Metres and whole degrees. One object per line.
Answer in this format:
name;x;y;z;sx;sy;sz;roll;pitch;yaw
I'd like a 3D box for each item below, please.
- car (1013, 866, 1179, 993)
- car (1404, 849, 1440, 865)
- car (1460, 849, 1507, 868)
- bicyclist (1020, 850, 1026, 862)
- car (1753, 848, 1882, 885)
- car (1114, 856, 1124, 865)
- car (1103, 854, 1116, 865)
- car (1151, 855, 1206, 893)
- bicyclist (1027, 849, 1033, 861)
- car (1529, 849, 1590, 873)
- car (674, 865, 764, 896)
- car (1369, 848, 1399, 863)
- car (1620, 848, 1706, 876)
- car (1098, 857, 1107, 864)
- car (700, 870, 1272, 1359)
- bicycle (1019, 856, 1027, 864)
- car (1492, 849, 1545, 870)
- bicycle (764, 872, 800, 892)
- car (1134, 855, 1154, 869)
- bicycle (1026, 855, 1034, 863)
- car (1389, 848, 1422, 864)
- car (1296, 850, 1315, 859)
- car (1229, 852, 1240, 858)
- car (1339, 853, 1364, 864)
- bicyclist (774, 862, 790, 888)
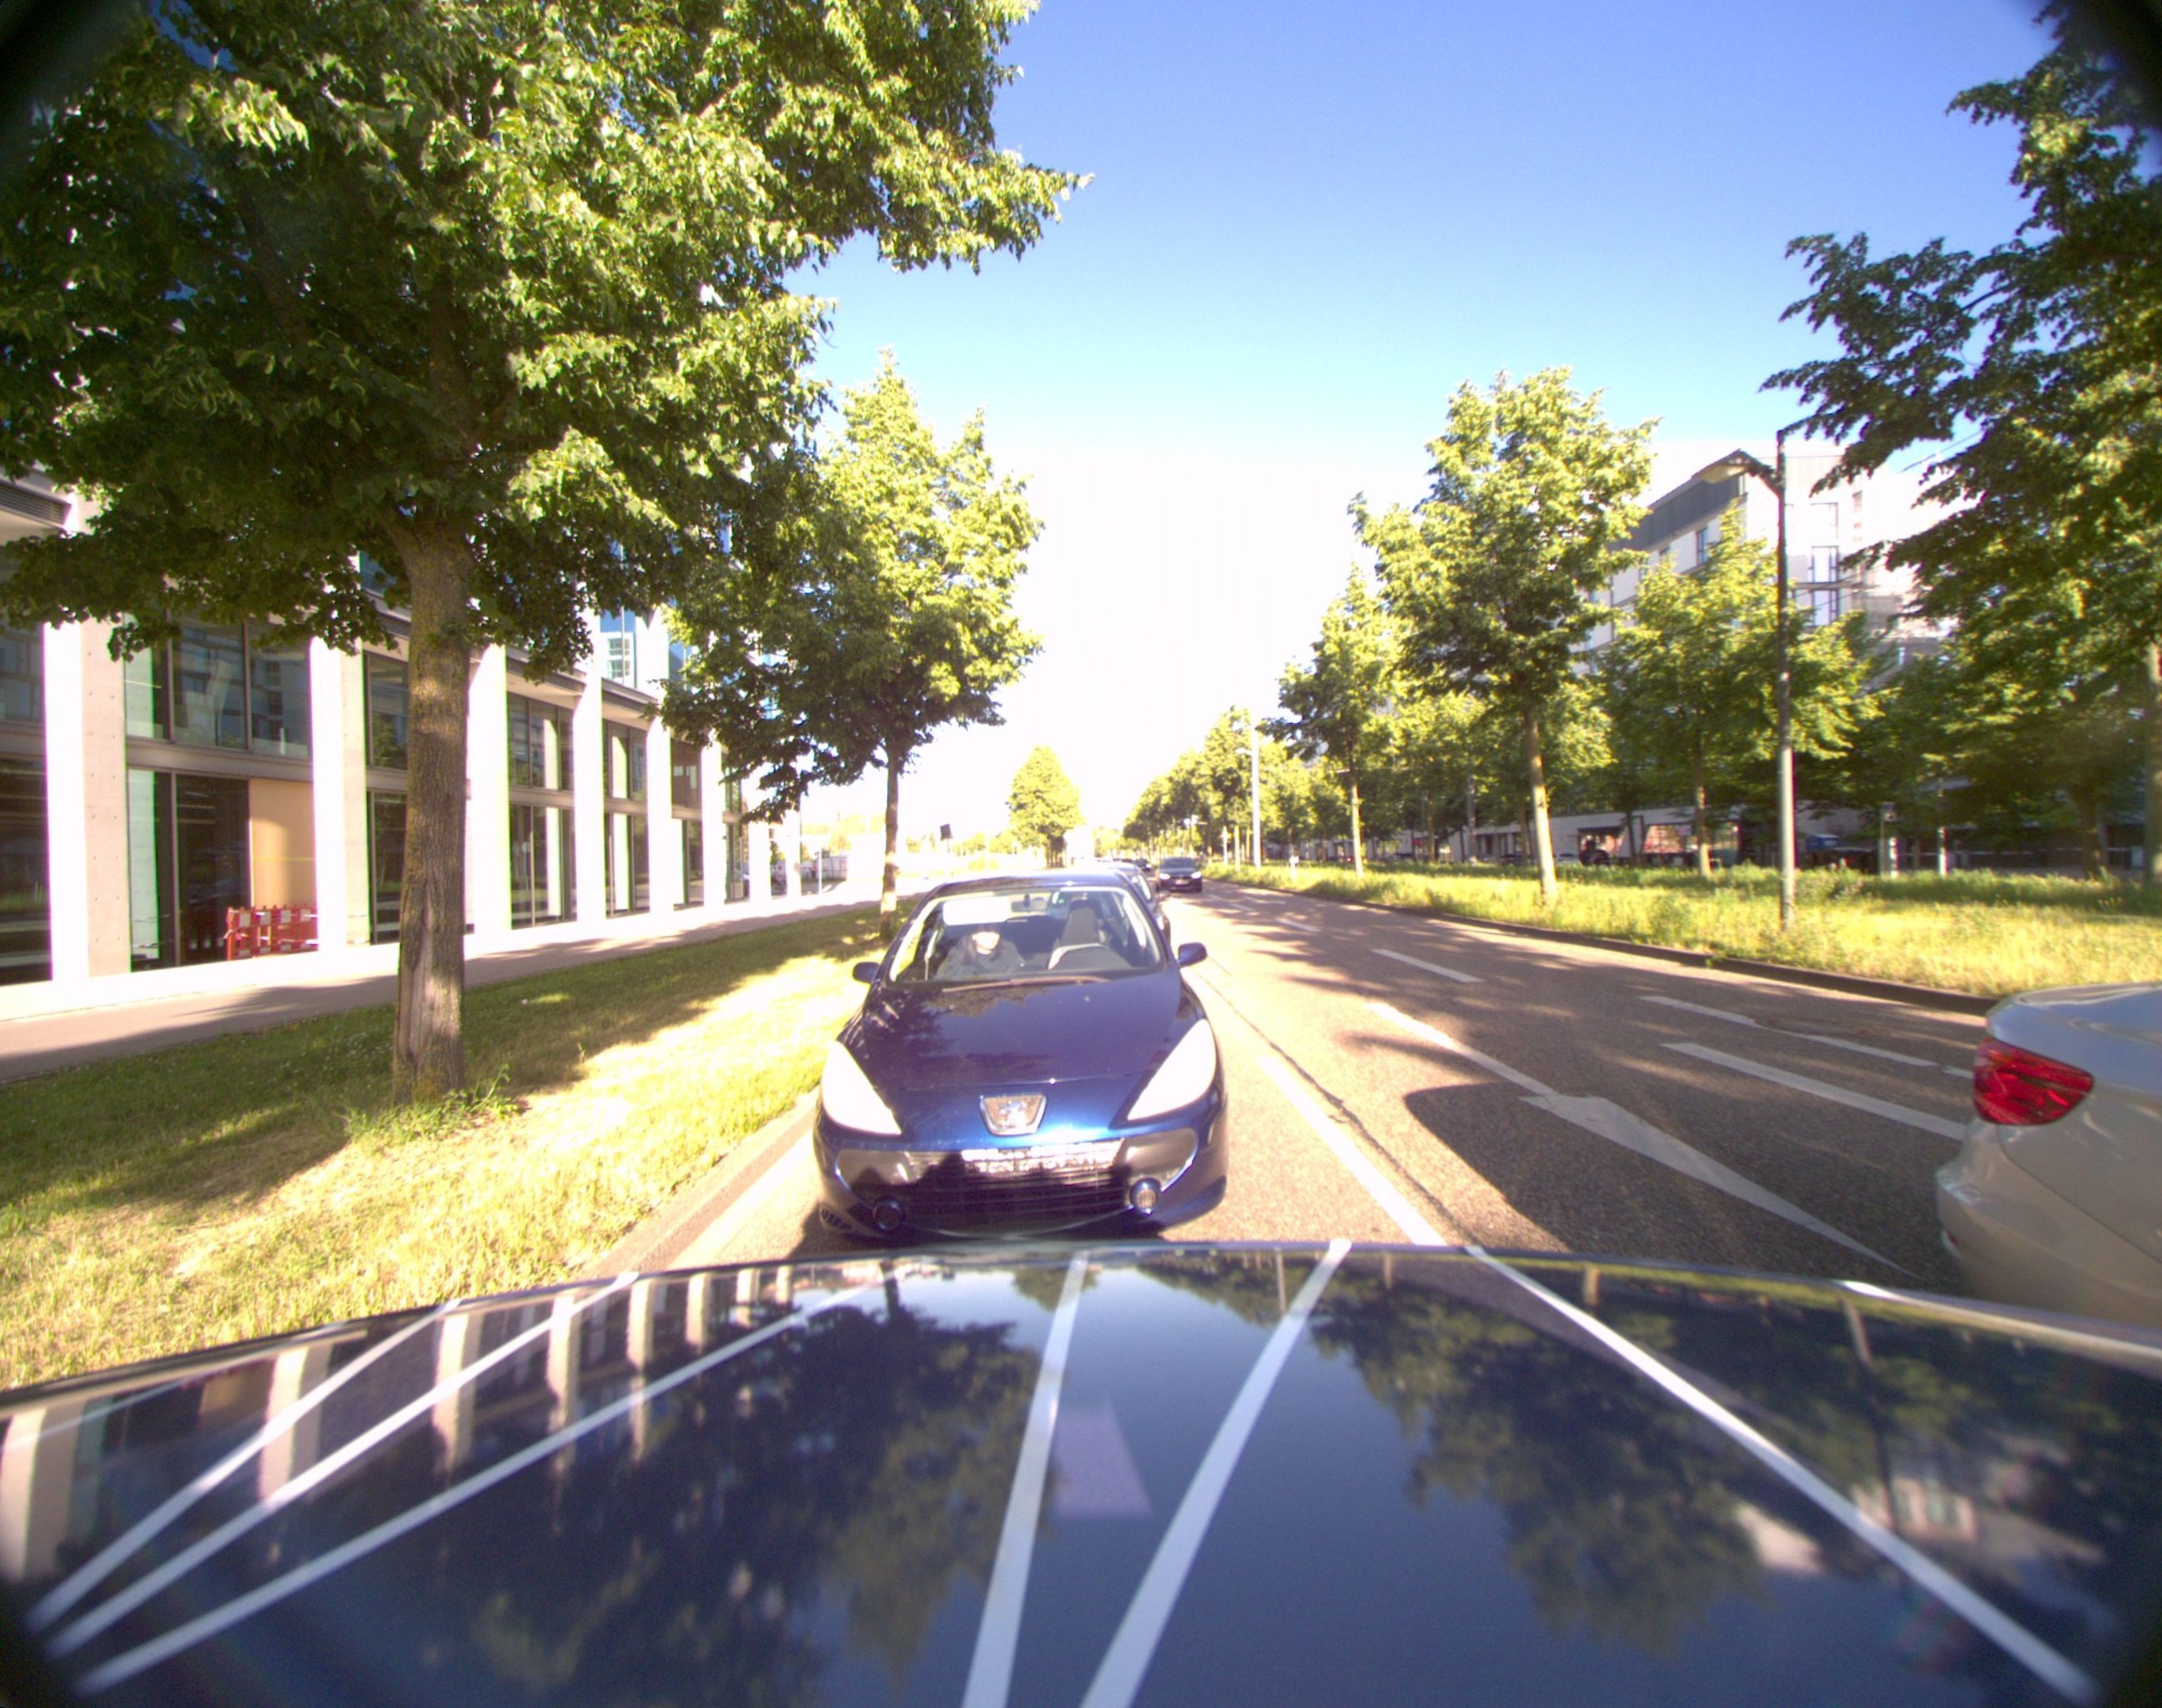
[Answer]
car;0.208;0.959;11.599;1.998;1.437;4.622;-1;0;1
car;35.035;0.280;78.195;1.884;1.588;4.184;-1;0;1
car;35.159;0.375;66.513;1.884;1.588;4.184;-1;0;1
bicyclist;-9.999;0.269;131.467;0.931;2.045;1.121;-1;1;1
car;34.089;0.547;35.351;1.951;1.588;4.184;-1;0;1
car;7.130;1.277;142.030;1.878;1.577;4.344;-1;0;2
car;4.038;0.730;107.427;1.724;1.516;4.000;-1;0;1
car;4.151;0.800;32.823;1.861;1.482;4.000;-1;0;1
bicyclist;-8.831;0.194;131.667;0.931;2.045;1.121;-1;1;1
car;34.905;0.486;55.589;1.884;1.588;4.184;-1;0;1
car;-20.038;1.435;42.151;3.996;1.569;2.000;-1;0;3
car;35.506;0.155;89.024;1.884;1.588;4.184;-1;0;1
car;34.574;0.456;45.313;1.951;1.588;4.184;-1;0;1
car;4.714;1.388;165.064;1.878;1.561;4.344;-1;0;2
car;-0.284;0.912;4.748;1.846;1.473;4.481;-2;0;1
bicycle;-9.991;0.994;131.455;0.931;1.355;4.000;-1;0;1
car;35.193;0.419;61.230;1.884;1.588;4.184;-1;0;1
bicycle;-18.024;1.662;45.744;1.926;1.149;0.592;1;0;2
car;6.476;0.791;78.936;1.878;1.415;4.344;-1;0;2
bicycle;-8.811;0.917;131.763;0.931;1.355;4.000;-1;0;1
car;35.448;0.211;83.103;1.884;1.588;4.184;-1;0;1
car;36.616;0.030;124.153;1.998;1.387;4.000;-1;0;1
car;36.123;0.198;179.231;1.998;1.387;4.001;-1;0;4
car;35.437;0.597;99.567;1.998;1.387;4.001;-1;0;4
bicyclist;-18.016;1.248;45.738;0.699;1.530;0.592;1;0;2
